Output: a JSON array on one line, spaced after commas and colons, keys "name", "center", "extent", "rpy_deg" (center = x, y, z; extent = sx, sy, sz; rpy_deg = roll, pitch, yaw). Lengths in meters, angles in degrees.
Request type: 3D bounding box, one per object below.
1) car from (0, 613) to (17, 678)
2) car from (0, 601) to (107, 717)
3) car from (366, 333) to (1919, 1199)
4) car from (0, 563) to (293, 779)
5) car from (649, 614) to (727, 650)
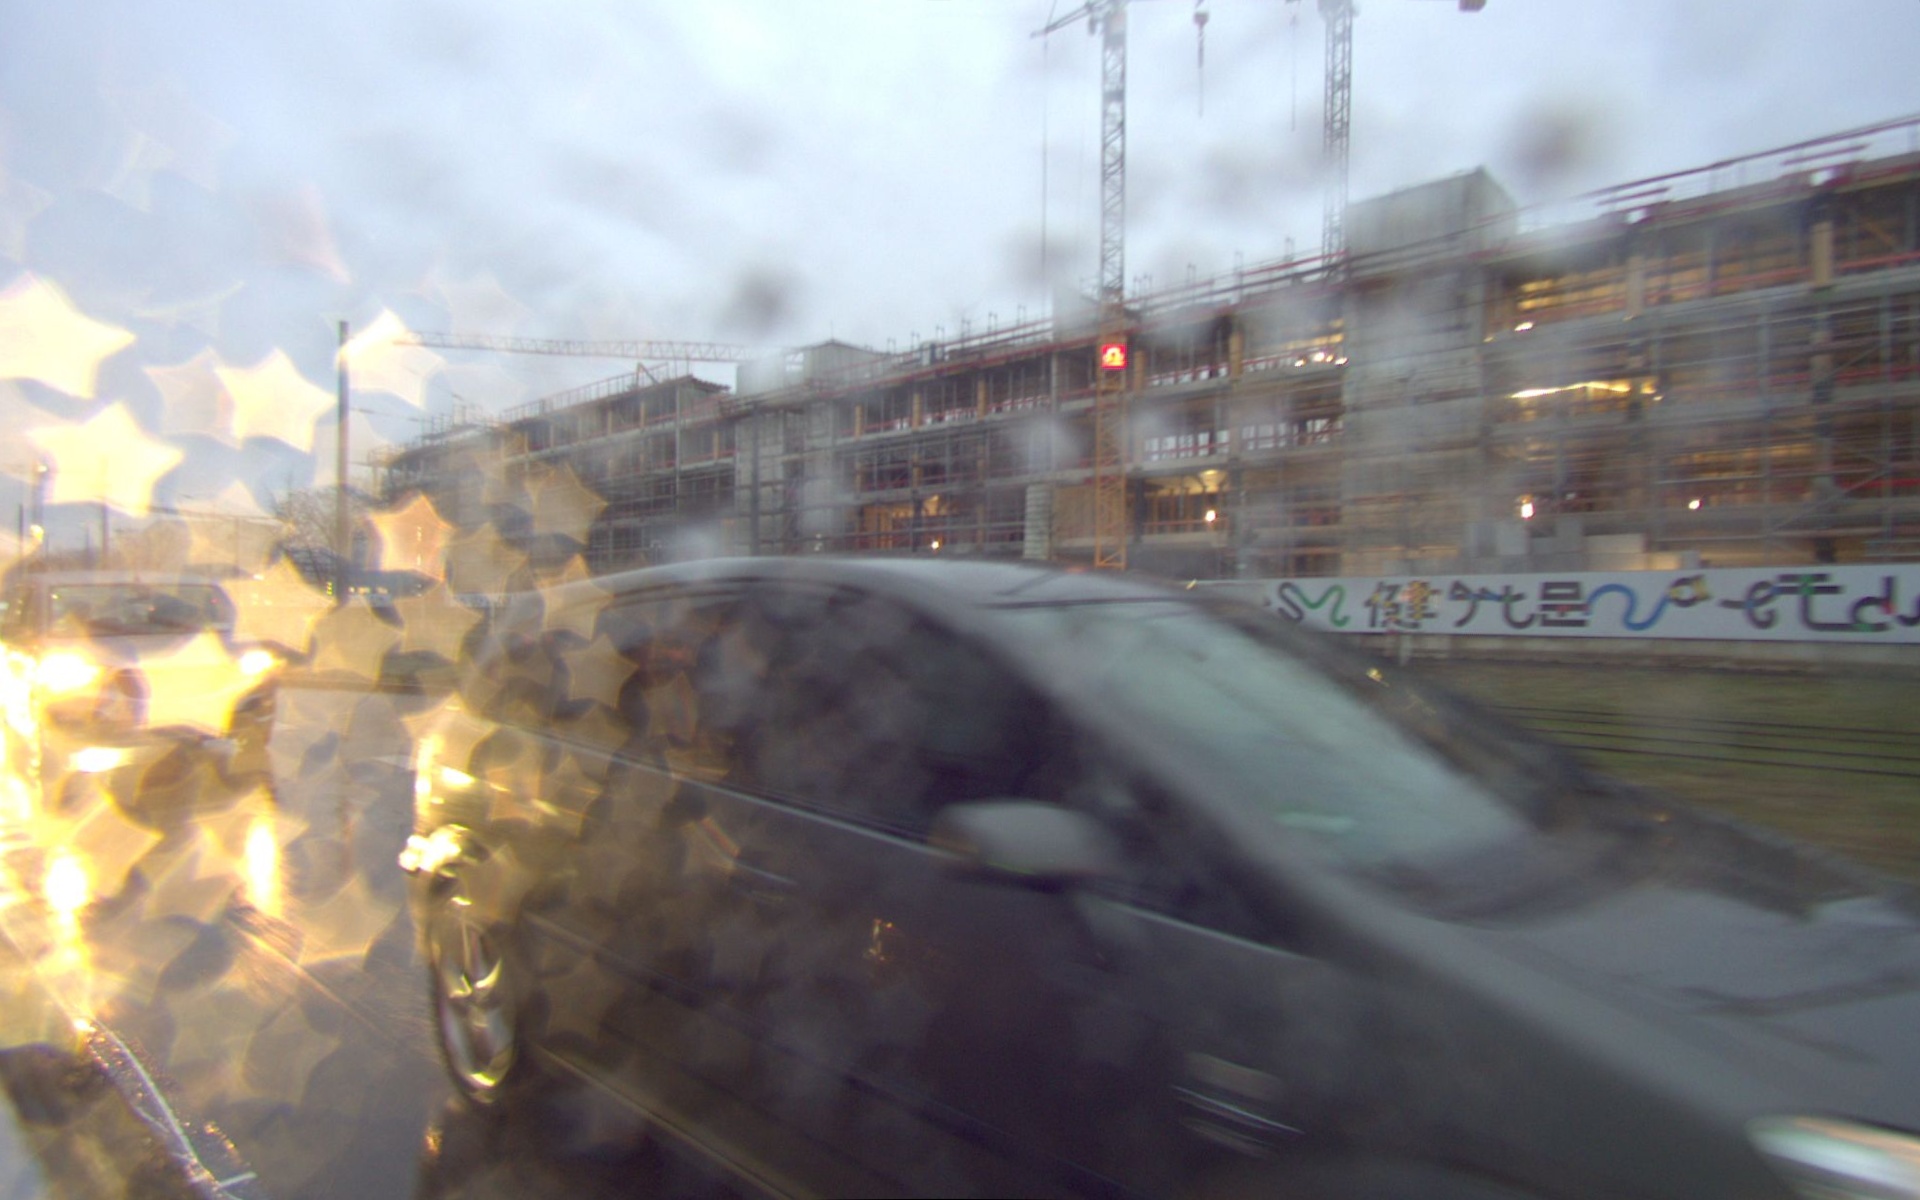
[{"name": "car", "center": [-25.807, 1.158, 26.048], "extent": [3.997, 1.567, 1.821], "rpy_deg": [0, 1, 41]}, {"name": "car", "center": [-15.467, 0.873, 16.454], "extent": [4.322, 1.666, 1.820], "rpy_deg": [0, 1, 41]}, {"name": "car", "center": [0.324, 0.557, 2.433], "extent": [3.996, 1.606, 1.742], "rpy_deg": [0, 1, 39]}, {"name": "car", "center": [-8.383, 0.557, 10.200], "extent": [3.999, 1.746, 1.833], "rpy_deg": [0, 1, 42]}, {"name": "car", "center": [-14.283, 1.647, 53.074], "extent": [4.081, 1.700, 1.933], "rpy_deg": [0, 1, 40]}]
